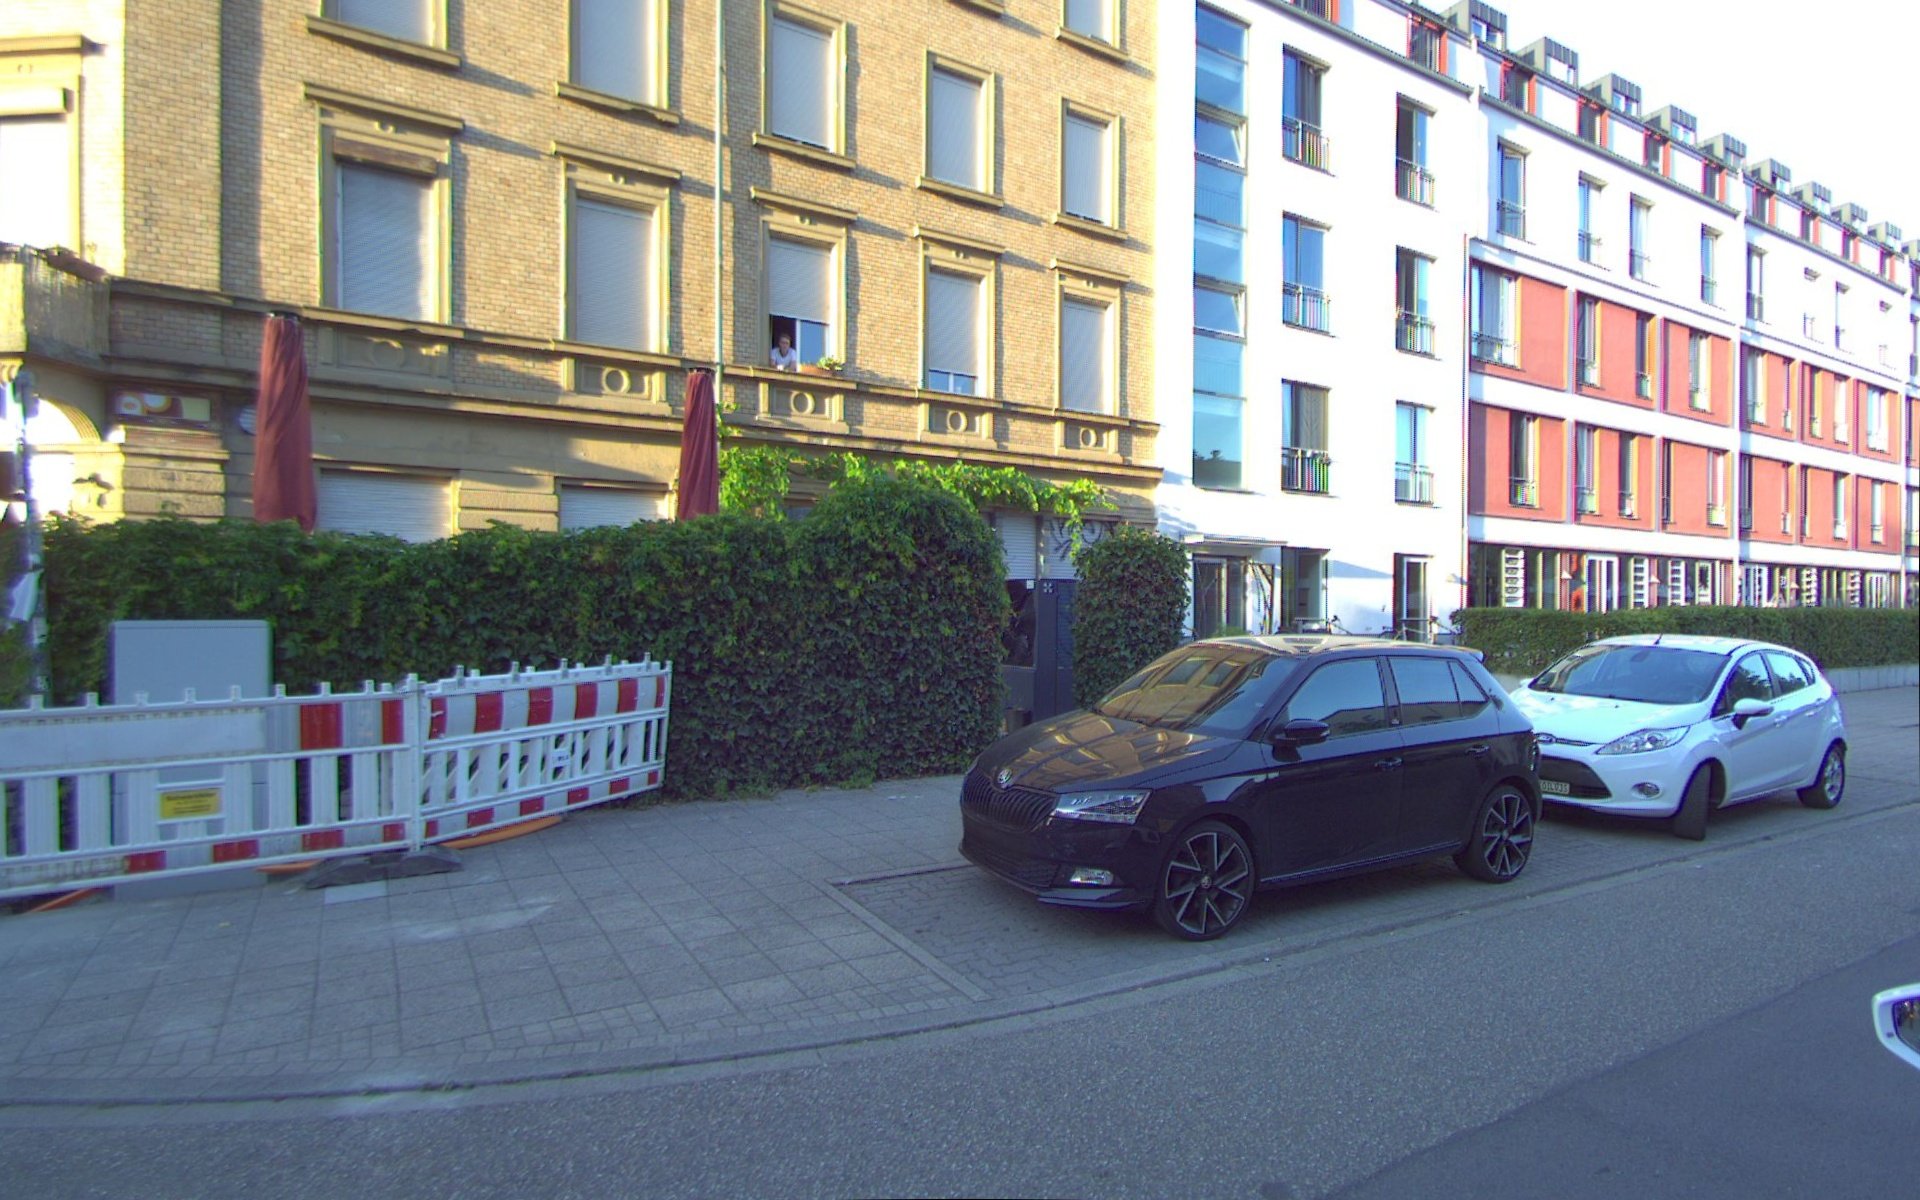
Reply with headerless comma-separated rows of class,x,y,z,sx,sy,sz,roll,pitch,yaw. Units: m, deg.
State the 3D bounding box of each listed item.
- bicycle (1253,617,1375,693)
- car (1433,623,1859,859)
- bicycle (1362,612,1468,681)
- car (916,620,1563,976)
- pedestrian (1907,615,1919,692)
bicycle,6.039,0.907,17.233,0.802,1.157,1.907,1,1,-29
car,5.959,0.997,8.596,3.974,1.550,1.641,1,0,-34
bicycle,8.326,0.821,18.457,0.602,1.163,1.769,1,1,-27
car,1.798,0.922,6.187,3.799,1.555,1.695,1,0,-31
pedestrian,19.588,1.078,20.008,0.788,1.521,0.828,1,1,-30
